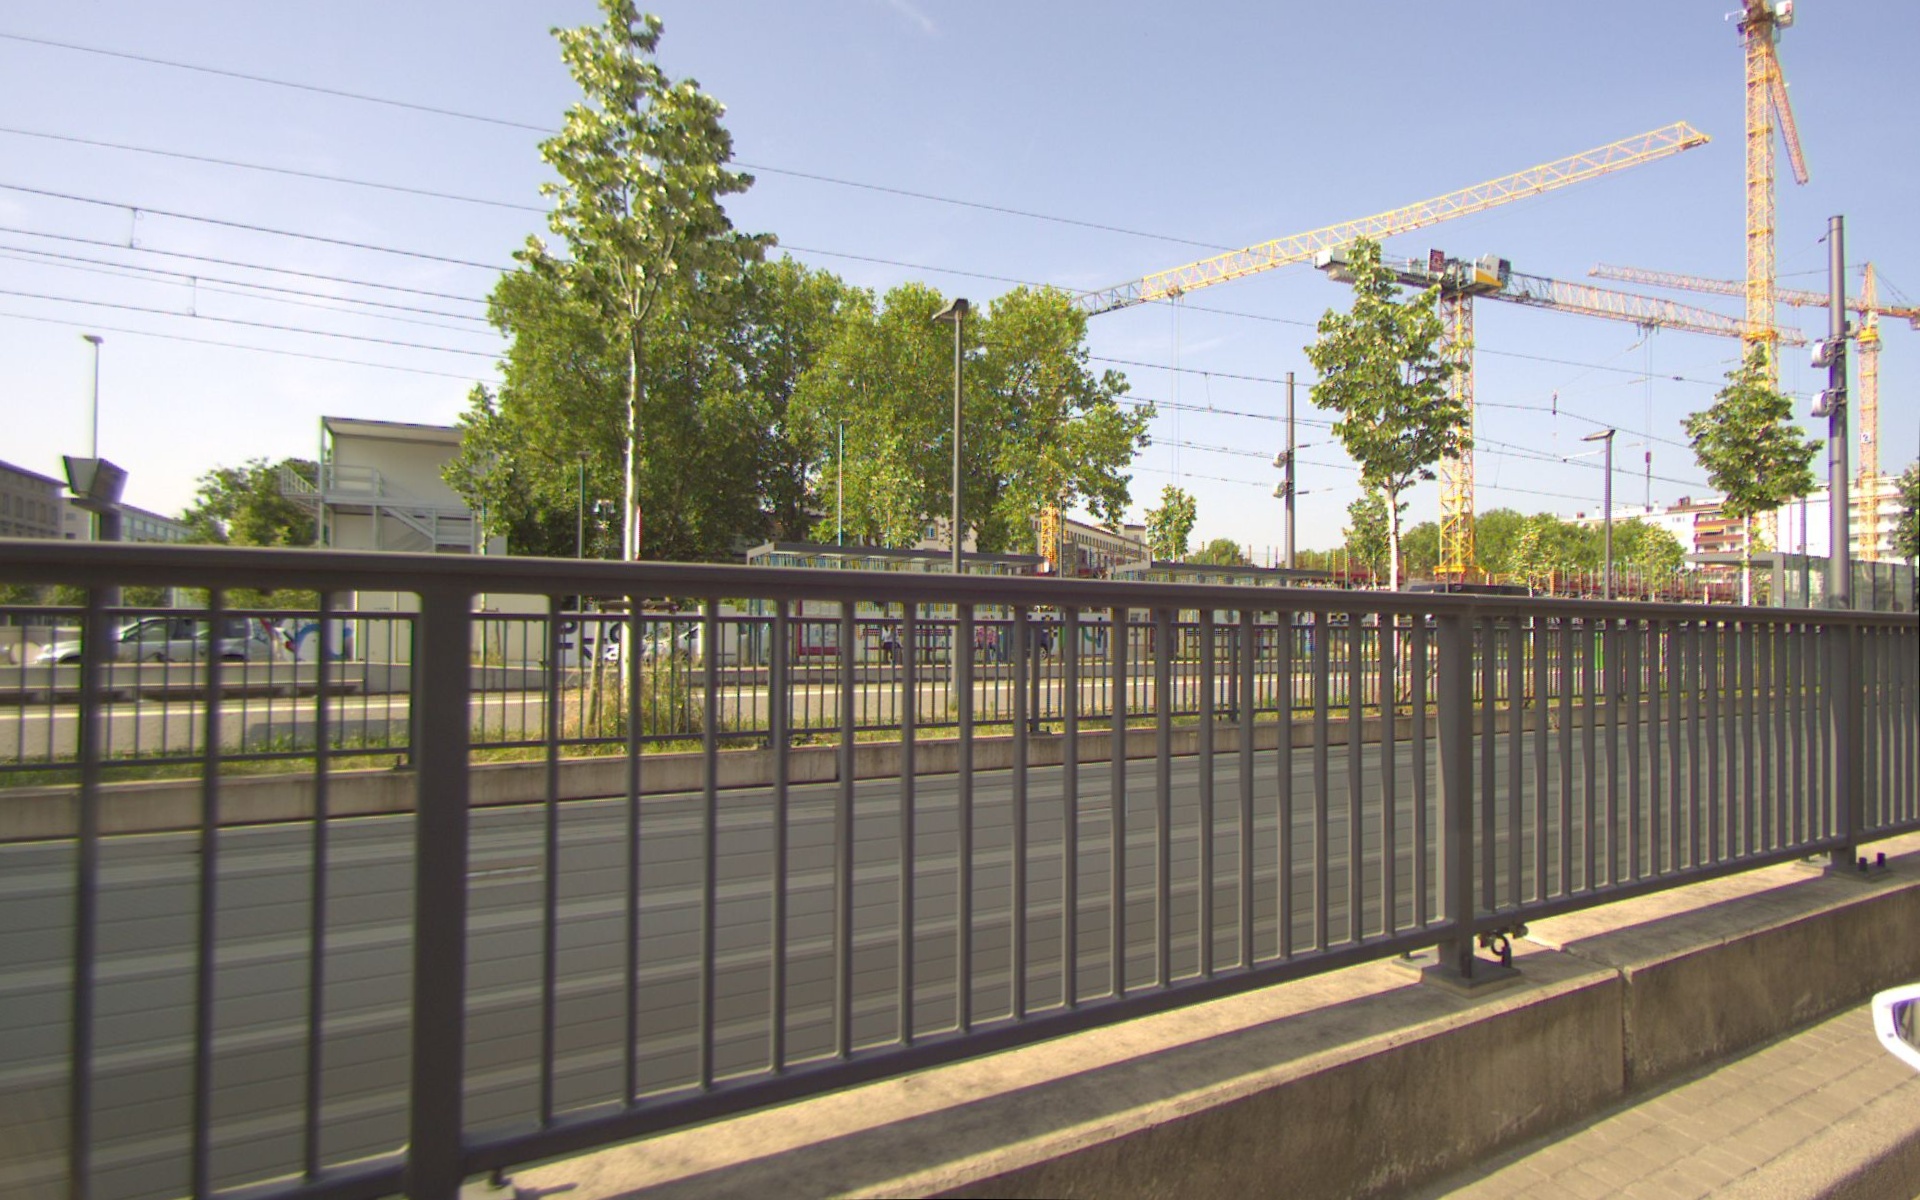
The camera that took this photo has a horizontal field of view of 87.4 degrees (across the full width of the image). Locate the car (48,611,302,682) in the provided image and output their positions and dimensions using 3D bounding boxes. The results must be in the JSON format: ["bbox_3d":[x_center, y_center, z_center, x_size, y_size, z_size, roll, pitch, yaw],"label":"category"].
[{"bbox_3d":[-17.627,1.017,22.857,4.353,1.489,1.635,1,-1,-31],"label":"car"}]

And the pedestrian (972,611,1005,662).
[{"bbox_3d":[0.748,0.955,26.230,0.586,1.317,0.676,1,-1,-33],"label":"pedestrian"}]

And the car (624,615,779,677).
[{"bbox_3d":[-7.521,1.310,29.308,4.101,1.684,1.713,1,-1,-30],"label":"car"}]

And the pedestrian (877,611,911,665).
[{"bbox_3d":[-1.621,0.926,24.615,0.586,1.317,0.676,1,-1,-33],"label":"pedestrian"}]

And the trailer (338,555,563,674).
[{"bbox_3d":[-13.056,0.377,25.903,4.963,2.818,2.035,1,0,-30],"label":"trailer"}]

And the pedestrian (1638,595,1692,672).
[{"bbox_3d":[15.453,0.728,22.021,0.702,1.640,0.732,1,-1,-30],"label":"pedestrian"}]

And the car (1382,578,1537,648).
[{"bbox_3d":[27.162,0.756,54.495,9.126,3.559,3.039,1,-1,-30],"label":"car"}]

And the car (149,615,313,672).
[{"bbox_3d":[-19.678,1.158,27.273,3.392,1.483,1.589,1,-1,-29],"label":"car"}]
